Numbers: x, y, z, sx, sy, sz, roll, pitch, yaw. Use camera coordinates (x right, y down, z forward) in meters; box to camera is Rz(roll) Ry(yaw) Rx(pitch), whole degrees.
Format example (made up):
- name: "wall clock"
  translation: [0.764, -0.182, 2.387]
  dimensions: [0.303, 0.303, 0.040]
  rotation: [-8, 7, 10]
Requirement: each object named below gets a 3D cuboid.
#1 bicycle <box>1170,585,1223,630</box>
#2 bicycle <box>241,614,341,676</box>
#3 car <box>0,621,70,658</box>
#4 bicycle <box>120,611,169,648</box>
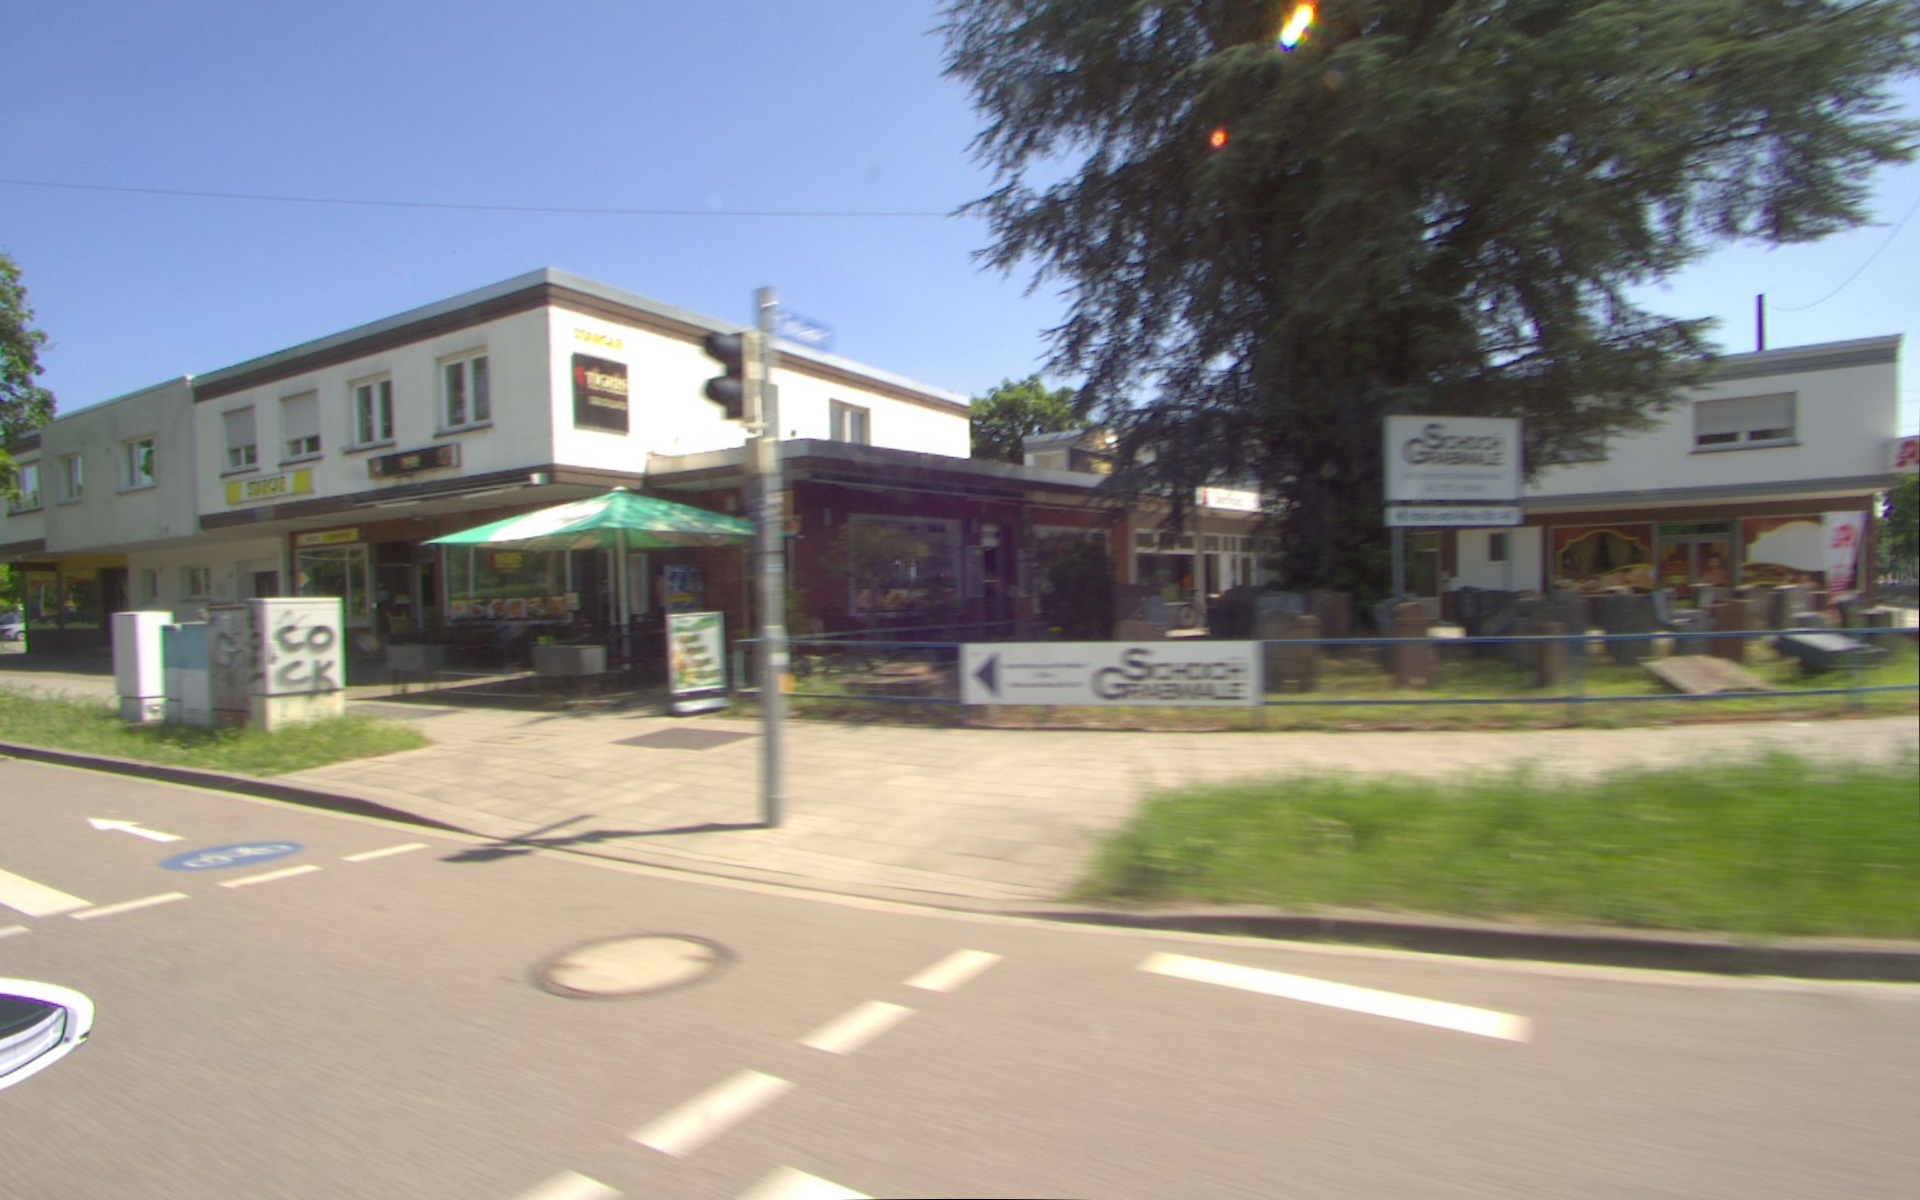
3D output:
- name: "bicycle"
  translation: [6.620, 0.214, 27.973]
  dimensions: [0.592, 1.207, 1.861]
  rotation: [-2, -2, 43]
- name: "bicycle"
  translation: [-13.723, 0.899, 20.500]
  dimensions: [2.605, 1.179, 0.984]
  rotation: [-1, 0, 39]
- name: "car"
  translation: [-37.533, 1.558, 39.274]
  dimensions: [1.467, 1.369, 3.606]
  rotation: [0, 0, 26]
- name: "bicycle"
  translation: [-24.315, 0.885, 29.851]
  dimensions: [1.836, 1.079, 0.506]
  rotation: [-2, -2, 29]
